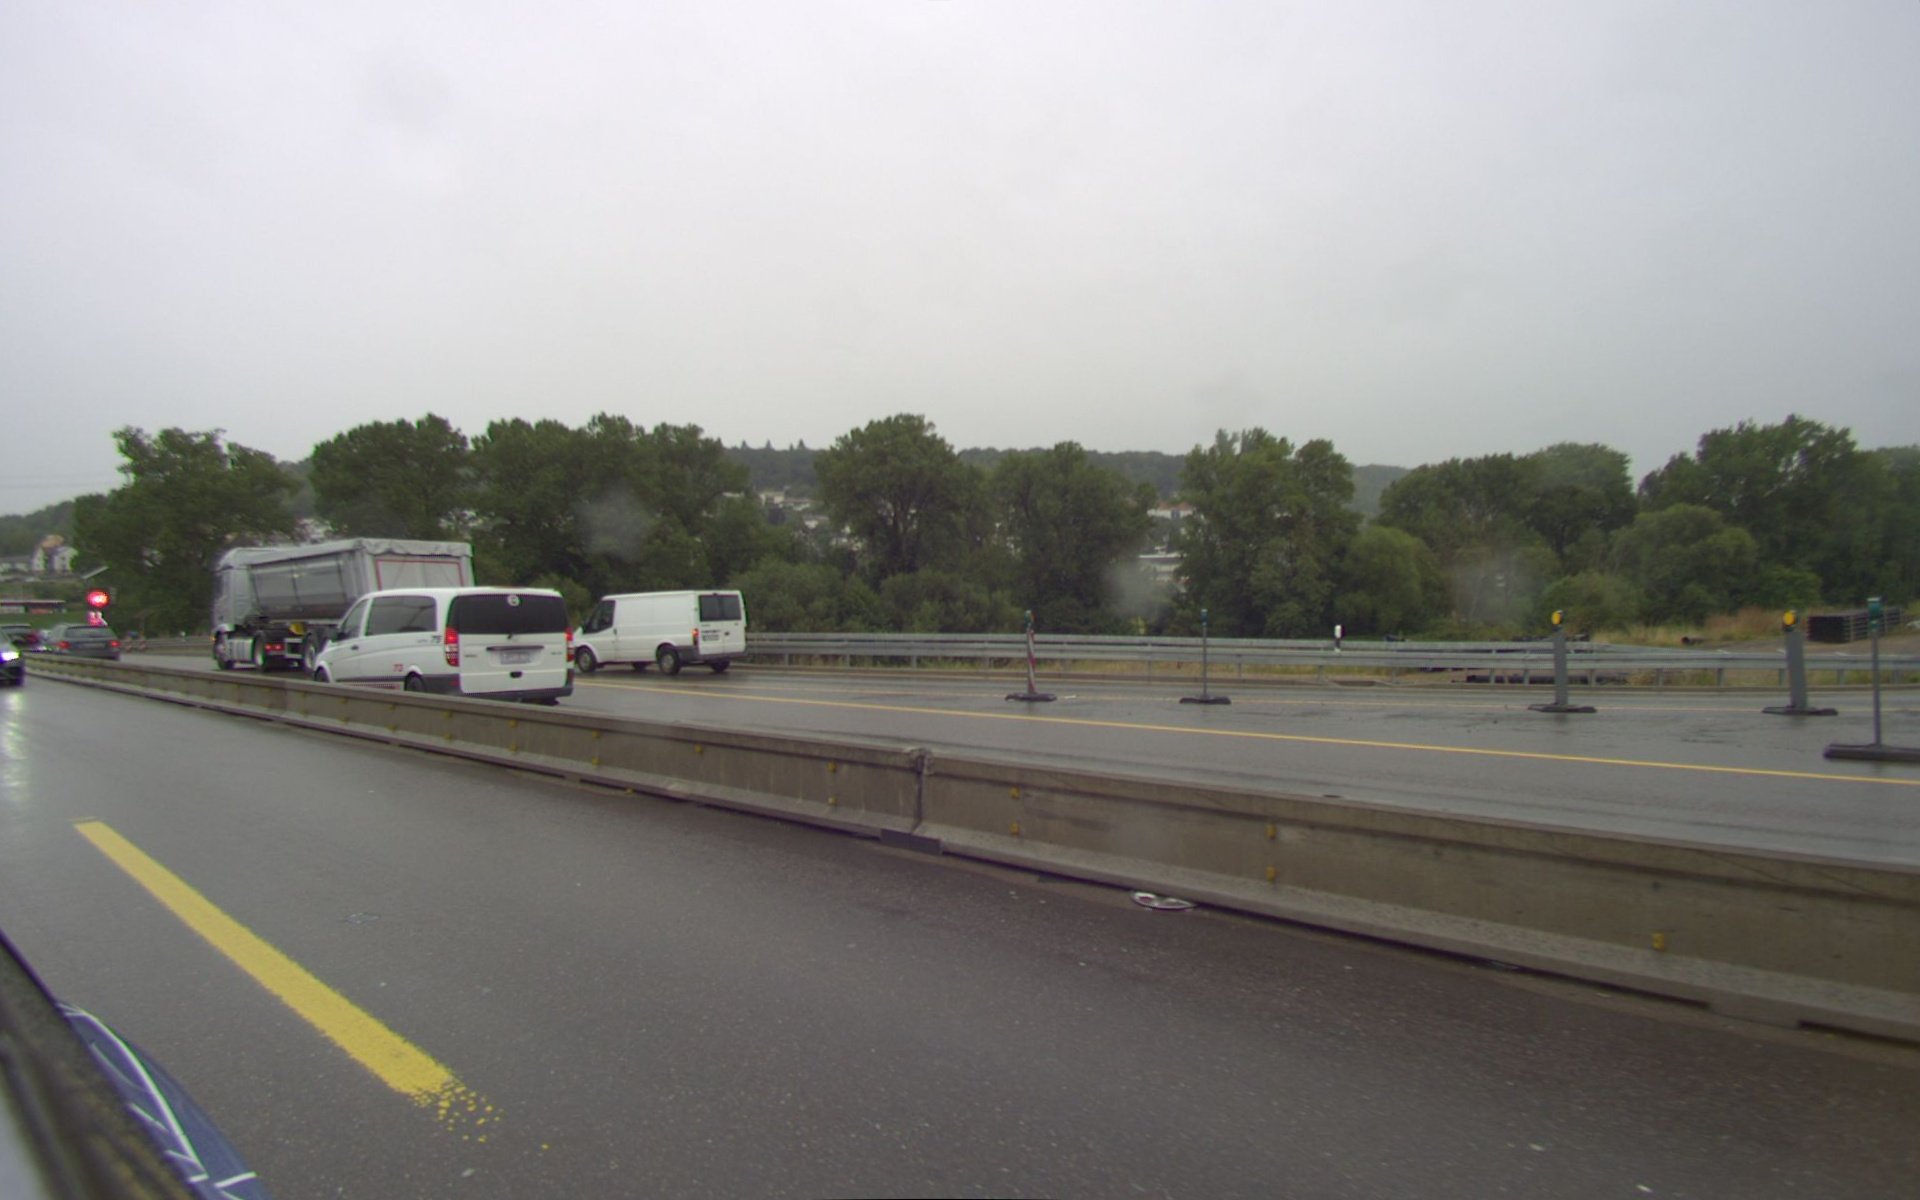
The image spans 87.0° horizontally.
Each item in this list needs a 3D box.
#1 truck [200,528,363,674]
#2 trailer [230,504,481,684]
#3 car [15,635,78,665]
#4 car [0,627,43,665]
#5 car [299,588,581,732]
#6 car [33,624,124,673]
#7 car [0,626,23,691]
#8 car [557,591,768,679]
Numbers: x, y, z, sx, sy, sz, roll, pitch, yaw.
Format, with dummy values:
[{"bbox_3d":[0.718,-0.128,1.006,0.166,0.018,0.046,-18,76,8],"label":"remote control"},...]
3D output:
[{"bbox_3d":[-20.248,0.102,30.130,5.270,3.957,2.658,-2,-2,40],"label":"truck"},{"bbox_3d":[-16.191,-0.009,26.663,9.812,3.994,2.658,-2,-2,40],"label":"trailer"},{"bbox_3d":[-51.918,2.858,57.527,4.263,1.589,1.828,-3,-4,37],"label":"car"},{"bbox_3d":[-44.081,2.096,46.734,4.467,1.668,1.973,-2,-3,41],"label":"car"},{"bbox_3d":[-7.906,0.809,15.095,5.355,1.806,1.855,-2,-1,40],"label":"car"},{"bbox_3d":[-29.207,1.573,33.494,3.997,1.464,1.692,-2,-1,40],"label":"car"},{"bbox_3d":[-23.503,1.372,23.643,4.481,1.449,1.926,-2,-1,41],"label":"car"},{"bbox_3d":[-7.576,0.873,25.685,5.023,2.029,2.250,-2,-1,29],"label":"car"}]
